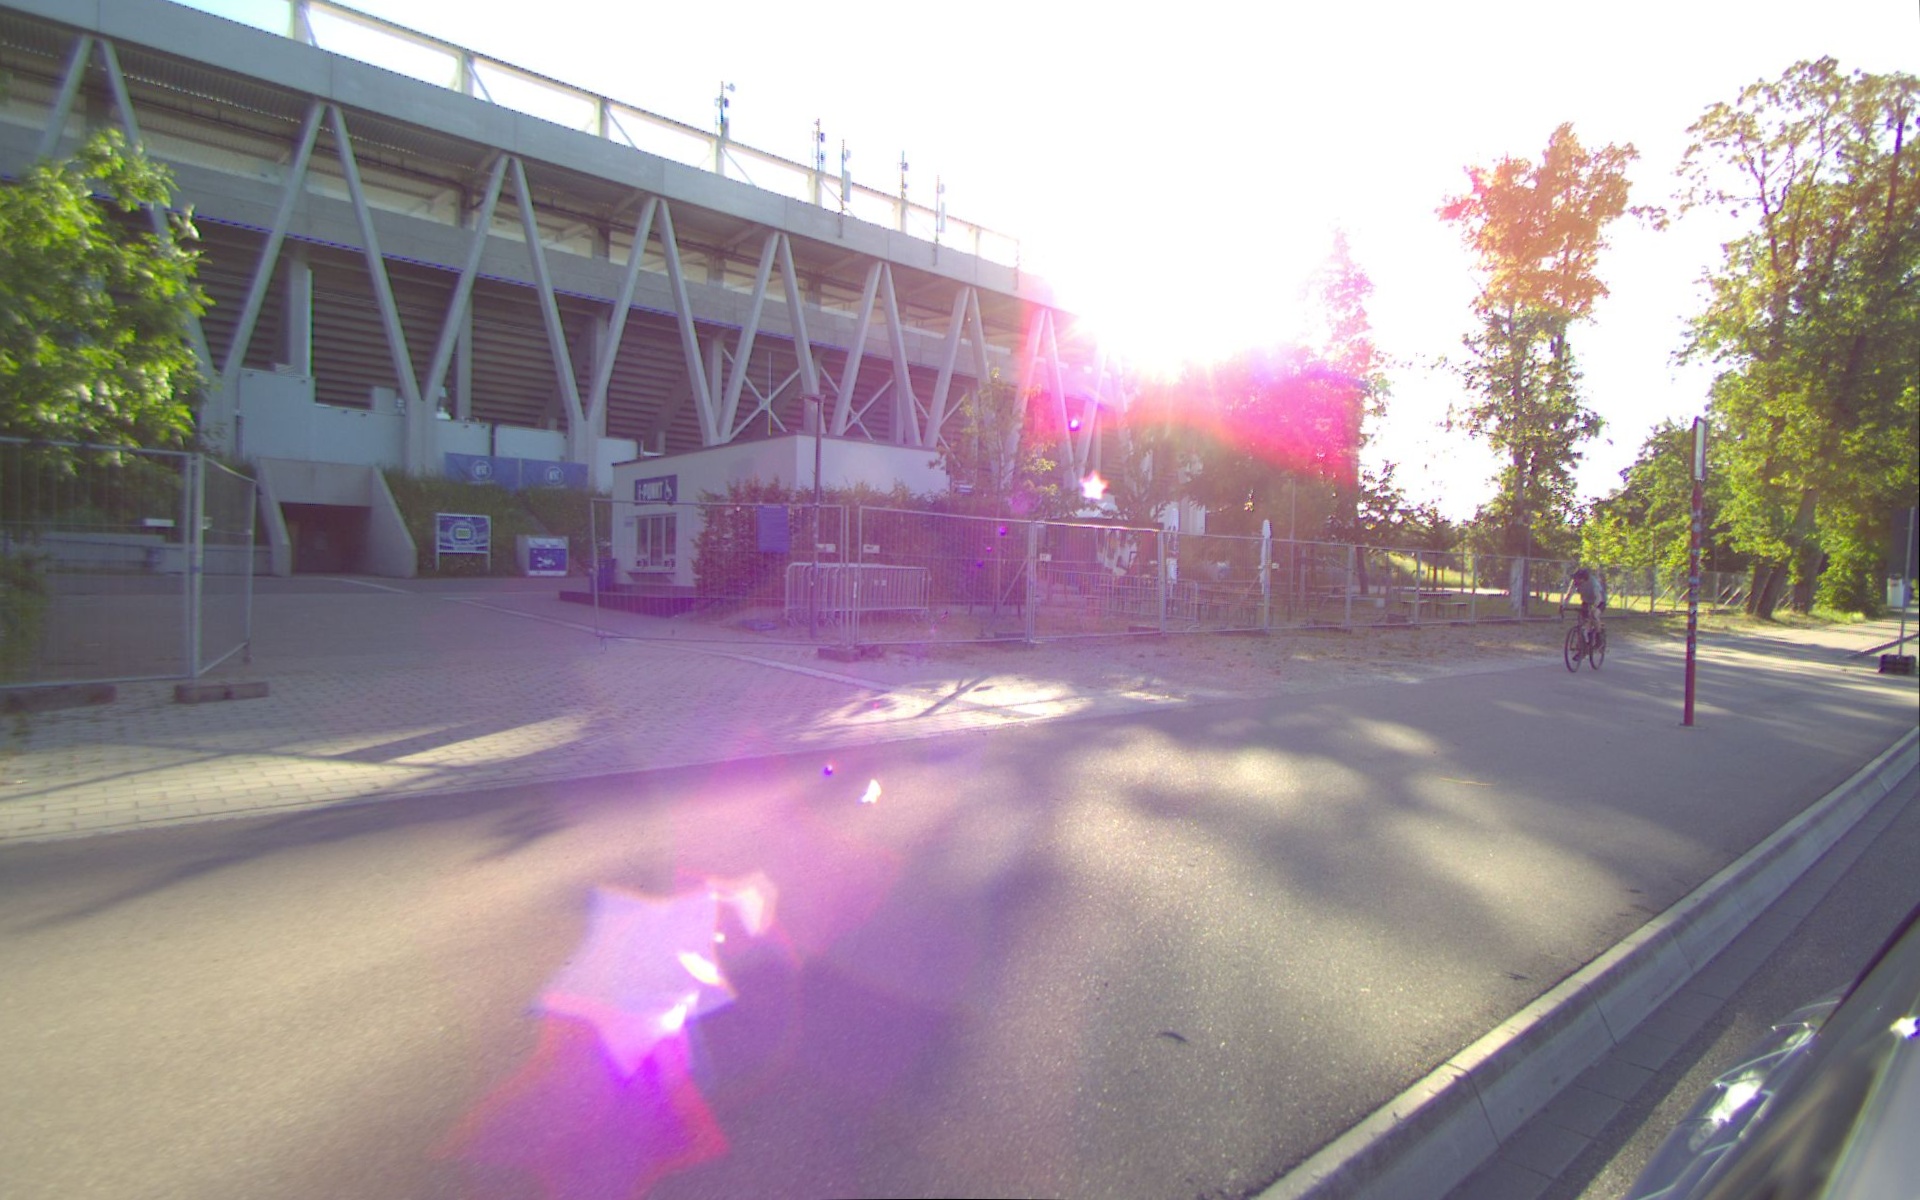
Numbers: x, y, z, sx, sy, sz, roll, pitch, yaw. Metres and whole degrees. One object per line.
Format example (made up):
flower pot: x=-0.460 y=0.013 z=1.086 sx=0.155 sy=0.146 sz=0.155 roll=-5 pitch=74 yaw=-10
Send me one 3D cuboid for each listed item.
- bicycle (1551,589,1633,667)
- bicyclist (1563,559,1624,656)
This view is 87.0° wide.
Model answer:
bicycle: x=10.151 y=0.420 z=16.227 sx=1.831 sy=1.151 sz=0.555 roll=-1 pitch=3 yaw=-41
bicyclist: x=10.119 y=0.101 z=16.168 sx=0.846 sy=1.486 sz=0.521 roll=0 pitch=4 yaw=-41
